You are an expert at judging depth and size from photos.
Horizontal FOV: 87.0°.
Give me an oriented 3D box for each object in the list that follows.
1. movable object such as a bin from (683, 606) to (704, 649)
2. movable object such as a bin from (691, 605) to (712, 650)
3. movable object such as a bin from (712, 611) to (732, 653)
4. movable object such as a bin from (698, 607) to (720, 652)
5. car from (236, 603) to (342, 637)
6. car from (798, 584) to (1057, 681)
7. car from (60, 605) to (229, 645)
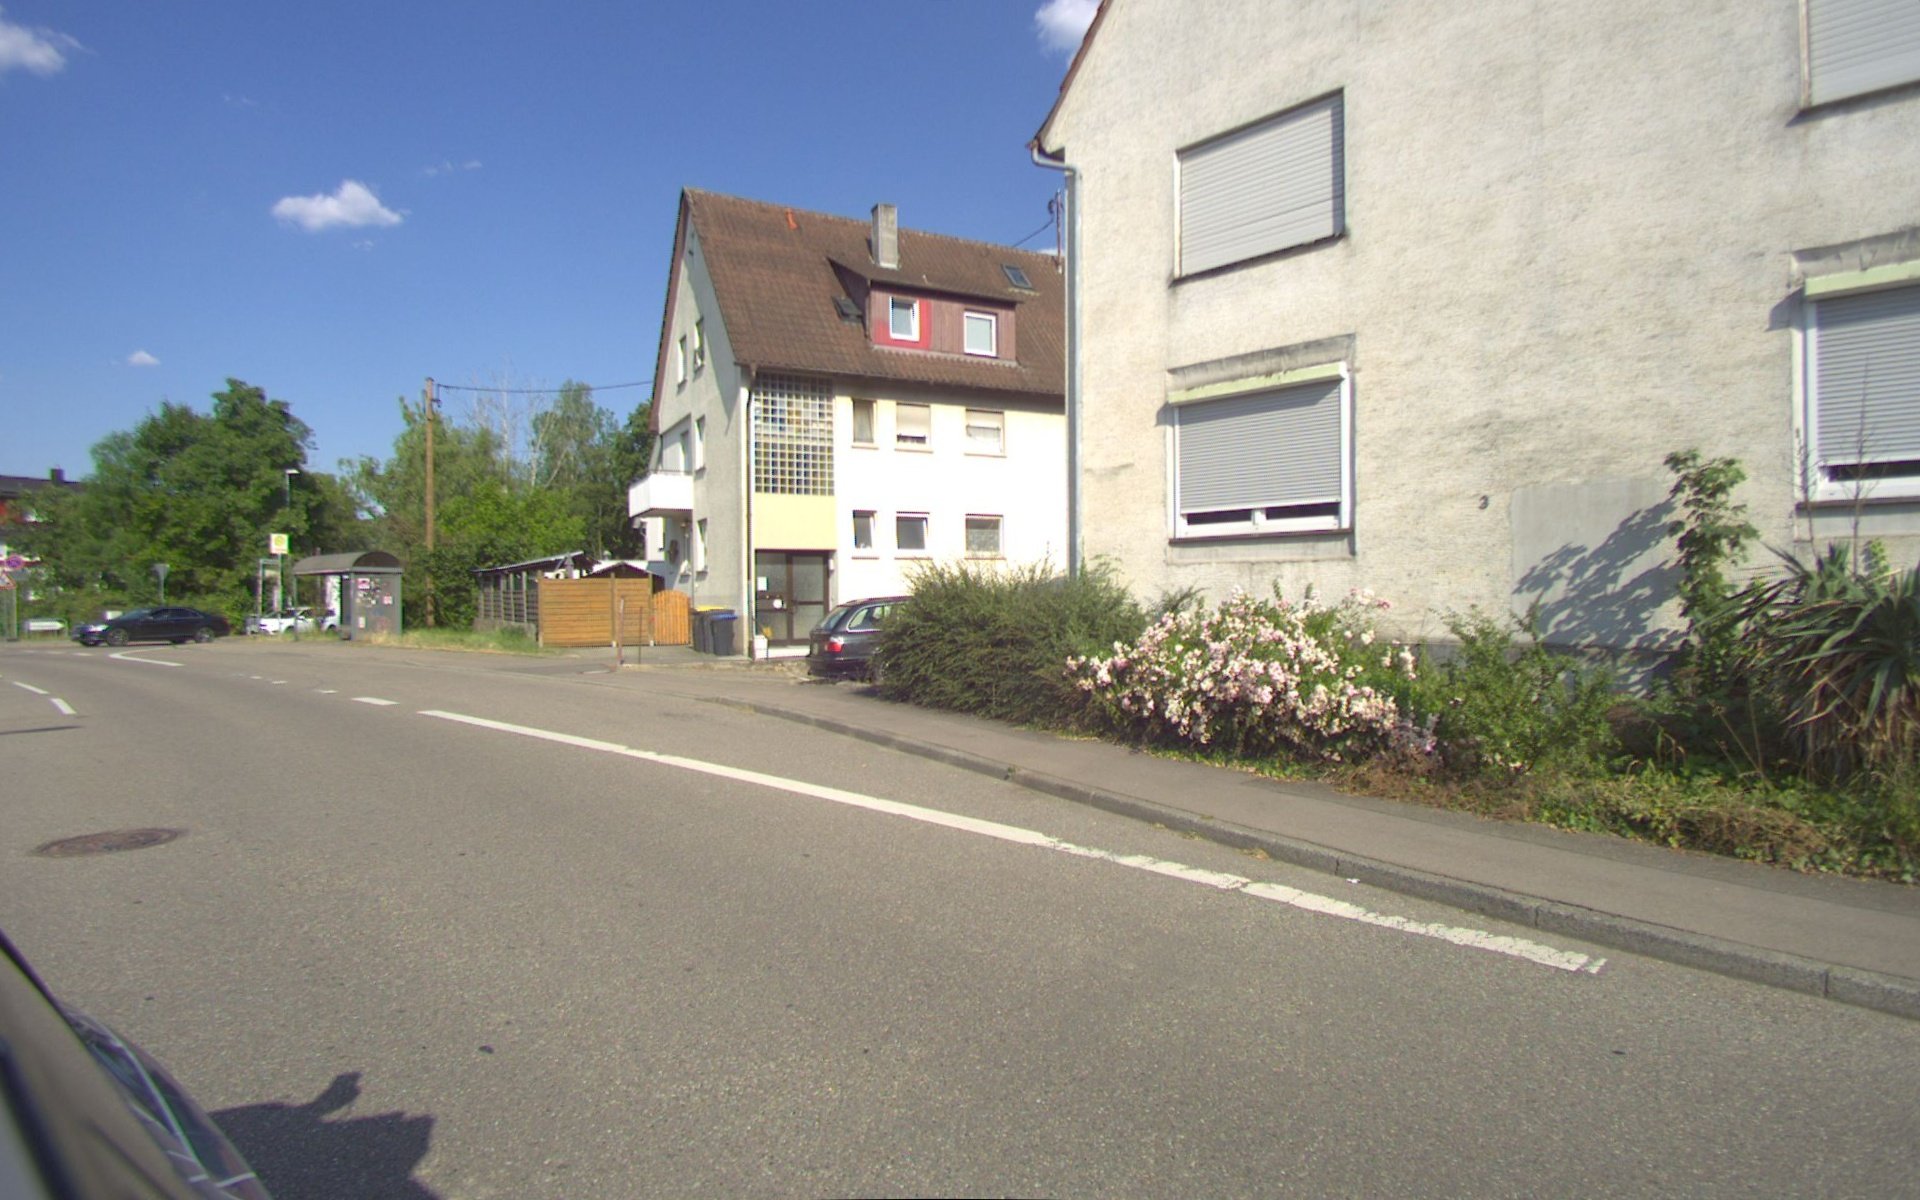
[{"bbox_3d":[-6.541,0.675,24.839,0.356,1.023,0.559,0,1,-30],"label":"movable object such as a bin"},{"bbox_3d":[-6.203,0.663,24.250,0.356,1.049,0.559,0,1,-30],"label":"movable object such as a bin"},{"bbox_3d":[-5.478,0.727,23.293,0.356,0.932,0.401,0,1,-30],"label":"movable object such as a bin"},{"bbox_3d":[-5.891,0.676,23.752,0.356,1.030,0.579,0,1,-30],"label":"movable object such as a bin"},{"bbox_3d":[-31.318,0.891,47.385,1.839,1.503,4.267,0,0,6],"label":"car"},{"bbox_3d":[-0.553,0.487,16.683,3.931,1.444,1.658,-1,0,-19],"label":"car"},{"bbox_3d":[-31.057,0.901,38.745,1.759,1.442,4.810,0,0,21],"label":"car"}]
